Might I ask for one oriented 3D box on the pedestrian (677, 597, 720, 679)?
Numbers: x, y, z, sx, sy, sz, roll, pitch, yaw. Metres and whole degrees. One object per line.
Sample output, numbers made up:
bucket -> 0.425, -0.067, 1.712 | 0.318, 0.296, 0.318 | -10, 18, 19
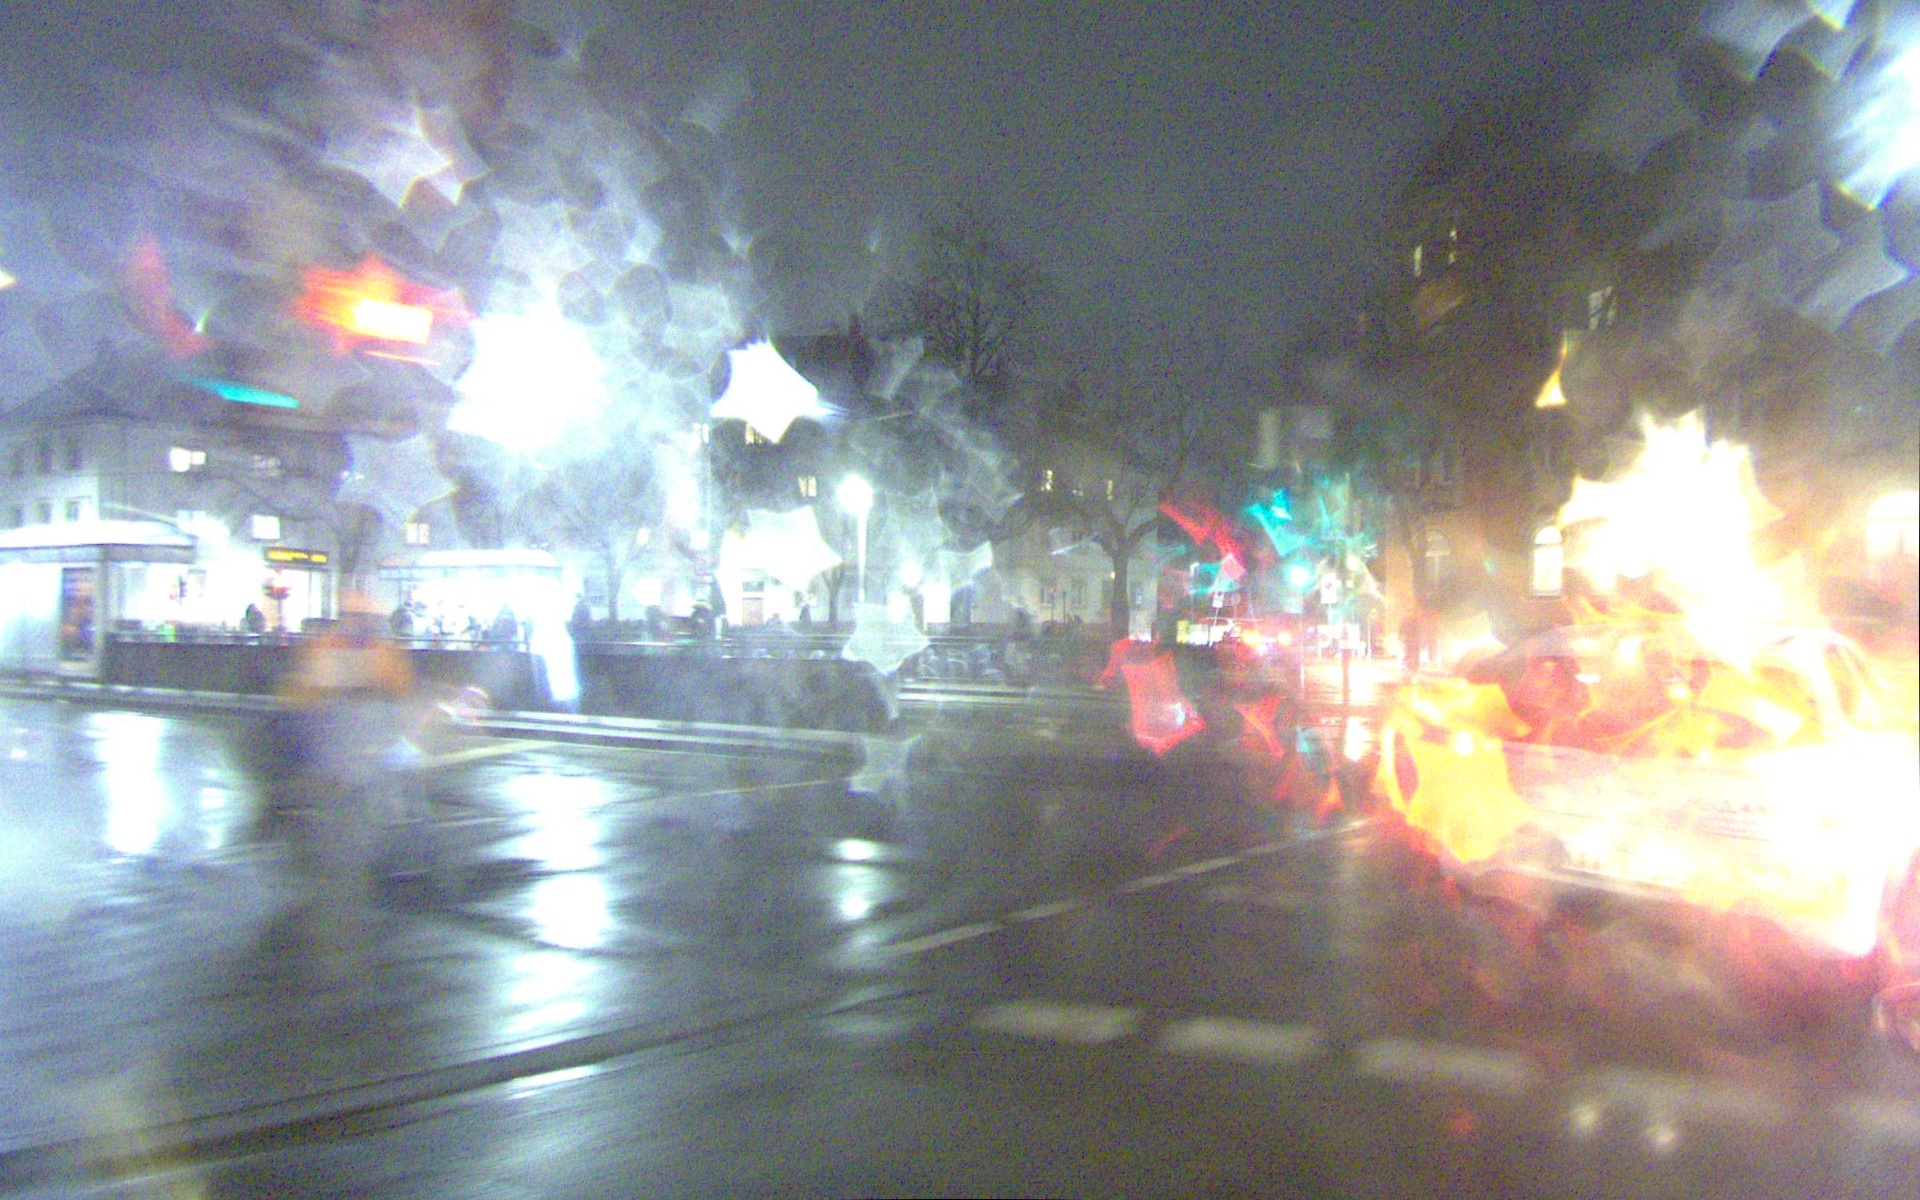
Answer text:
pedestrian -> -5.953, 0.849, 22.885 | 0.703, 1.798, 0.671 | 0, 2, 15

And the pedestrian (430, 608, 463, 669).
pedestrian -> -13.395, 0.993, 26.206 | 0.563, 1.568, 0.512 | 0, 2, 8

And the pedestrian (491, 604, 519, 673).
pedestrian -> -11.326, 0.949, 25.021 | 0.551, 1.674, 0.582 | -1, 2, -18

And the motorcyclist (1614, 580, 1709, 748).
motorcyclist -> 7.596, 0.654, 10.881 | 0.779, 1.717, 0.817 | 1, 1, 37

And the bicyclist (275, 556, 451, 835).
bicyclist -> -3.610, 0.529, 6.085 | 0.801, 1.569, 0.571 | 1, 2, 29

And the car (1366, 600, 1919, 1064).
car -> 3.867, 0.778, 5.276 | 3.571, 1.536, 1.901 | 0, 0, -43

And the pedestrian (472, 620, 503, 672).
pedestrian -> -11.993, 1.158, 25.487 | 0.614, 1.270, 0.582 | -1, 2, -18

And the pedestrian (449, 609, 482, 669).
pedestrian -> -12.839, 1.008, 26.100 | 0.574, 1.549, 0.480 | 0, 2, 8

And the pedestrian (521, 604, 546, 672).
pedestrian -> -10.649, 0.935, 25.079 | 0.524, 1.651, 0.398 | -1, 2, -18

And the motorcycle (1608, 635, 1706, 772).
motorcycle -> 7.581, 1.046, 10.891 | 0.779, 1.229, 2.242 | 1, 1, 36

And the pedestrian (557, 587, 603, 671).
pedestrian -> -9.332, 0.706, 24.690 | 0.842, 2.014, 0.609 | 1, 2, 22

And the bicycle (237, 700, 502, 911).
bicycle -> -3.608, 1.179, 6.098 | 1.748, 0.982, 0.571 | 1, 2, 29

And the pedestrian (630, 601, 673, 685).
pedestrian -> -6.846, 0.930, 22.295 | 0.711, 1.798, 0.663 | -2, 3, -40
